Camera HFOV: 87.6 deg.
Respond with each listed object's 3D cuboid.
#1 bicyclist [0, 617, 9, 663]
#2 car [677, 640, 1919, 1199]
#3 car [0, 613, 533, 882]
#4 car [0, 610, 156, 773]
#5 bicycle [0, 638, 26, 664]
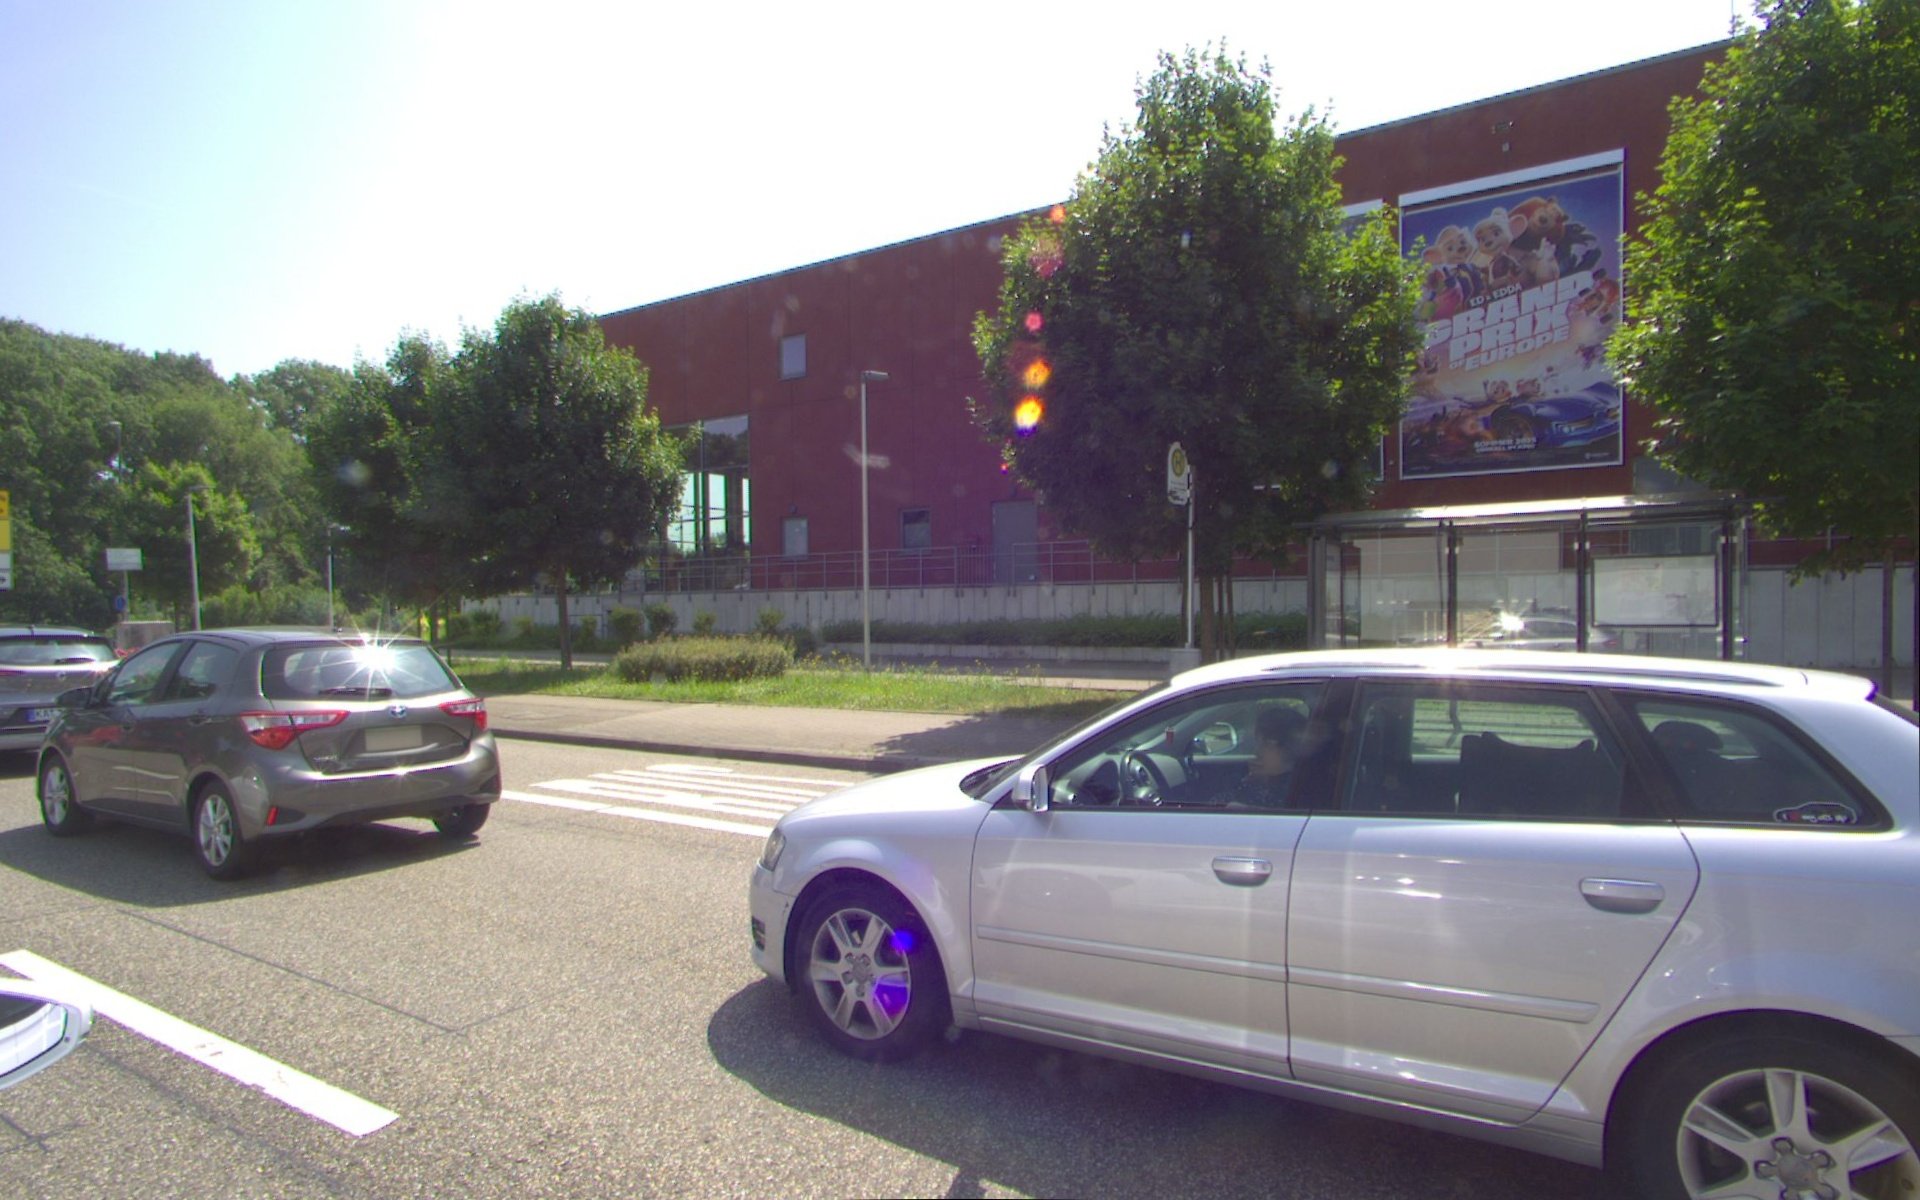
[{"bbox_3d":[-30.884,1.285,31.755,0.814,1.458,0.598,-1,1,-13],"label":"bicyclist"},{"bbox_3d":[1.081,0.847,3.543,4.031,1.379,1.710,-1,-2,31],"label":"car"},{"bbox_3d":[-5.200,0.902,7.364,4.031,1.496,1.711,-1,-4,31],"label":"car"},{"bbox_3d":[-11.042,0.944,11.361,4.031,1.614,1.709,-1,-1,31],"label":"car"},{"bbox_3d":[-30.916,1.633,31.760,1.793,0.776,0.600,-1,0,-13],"label":"bicycle"}]
